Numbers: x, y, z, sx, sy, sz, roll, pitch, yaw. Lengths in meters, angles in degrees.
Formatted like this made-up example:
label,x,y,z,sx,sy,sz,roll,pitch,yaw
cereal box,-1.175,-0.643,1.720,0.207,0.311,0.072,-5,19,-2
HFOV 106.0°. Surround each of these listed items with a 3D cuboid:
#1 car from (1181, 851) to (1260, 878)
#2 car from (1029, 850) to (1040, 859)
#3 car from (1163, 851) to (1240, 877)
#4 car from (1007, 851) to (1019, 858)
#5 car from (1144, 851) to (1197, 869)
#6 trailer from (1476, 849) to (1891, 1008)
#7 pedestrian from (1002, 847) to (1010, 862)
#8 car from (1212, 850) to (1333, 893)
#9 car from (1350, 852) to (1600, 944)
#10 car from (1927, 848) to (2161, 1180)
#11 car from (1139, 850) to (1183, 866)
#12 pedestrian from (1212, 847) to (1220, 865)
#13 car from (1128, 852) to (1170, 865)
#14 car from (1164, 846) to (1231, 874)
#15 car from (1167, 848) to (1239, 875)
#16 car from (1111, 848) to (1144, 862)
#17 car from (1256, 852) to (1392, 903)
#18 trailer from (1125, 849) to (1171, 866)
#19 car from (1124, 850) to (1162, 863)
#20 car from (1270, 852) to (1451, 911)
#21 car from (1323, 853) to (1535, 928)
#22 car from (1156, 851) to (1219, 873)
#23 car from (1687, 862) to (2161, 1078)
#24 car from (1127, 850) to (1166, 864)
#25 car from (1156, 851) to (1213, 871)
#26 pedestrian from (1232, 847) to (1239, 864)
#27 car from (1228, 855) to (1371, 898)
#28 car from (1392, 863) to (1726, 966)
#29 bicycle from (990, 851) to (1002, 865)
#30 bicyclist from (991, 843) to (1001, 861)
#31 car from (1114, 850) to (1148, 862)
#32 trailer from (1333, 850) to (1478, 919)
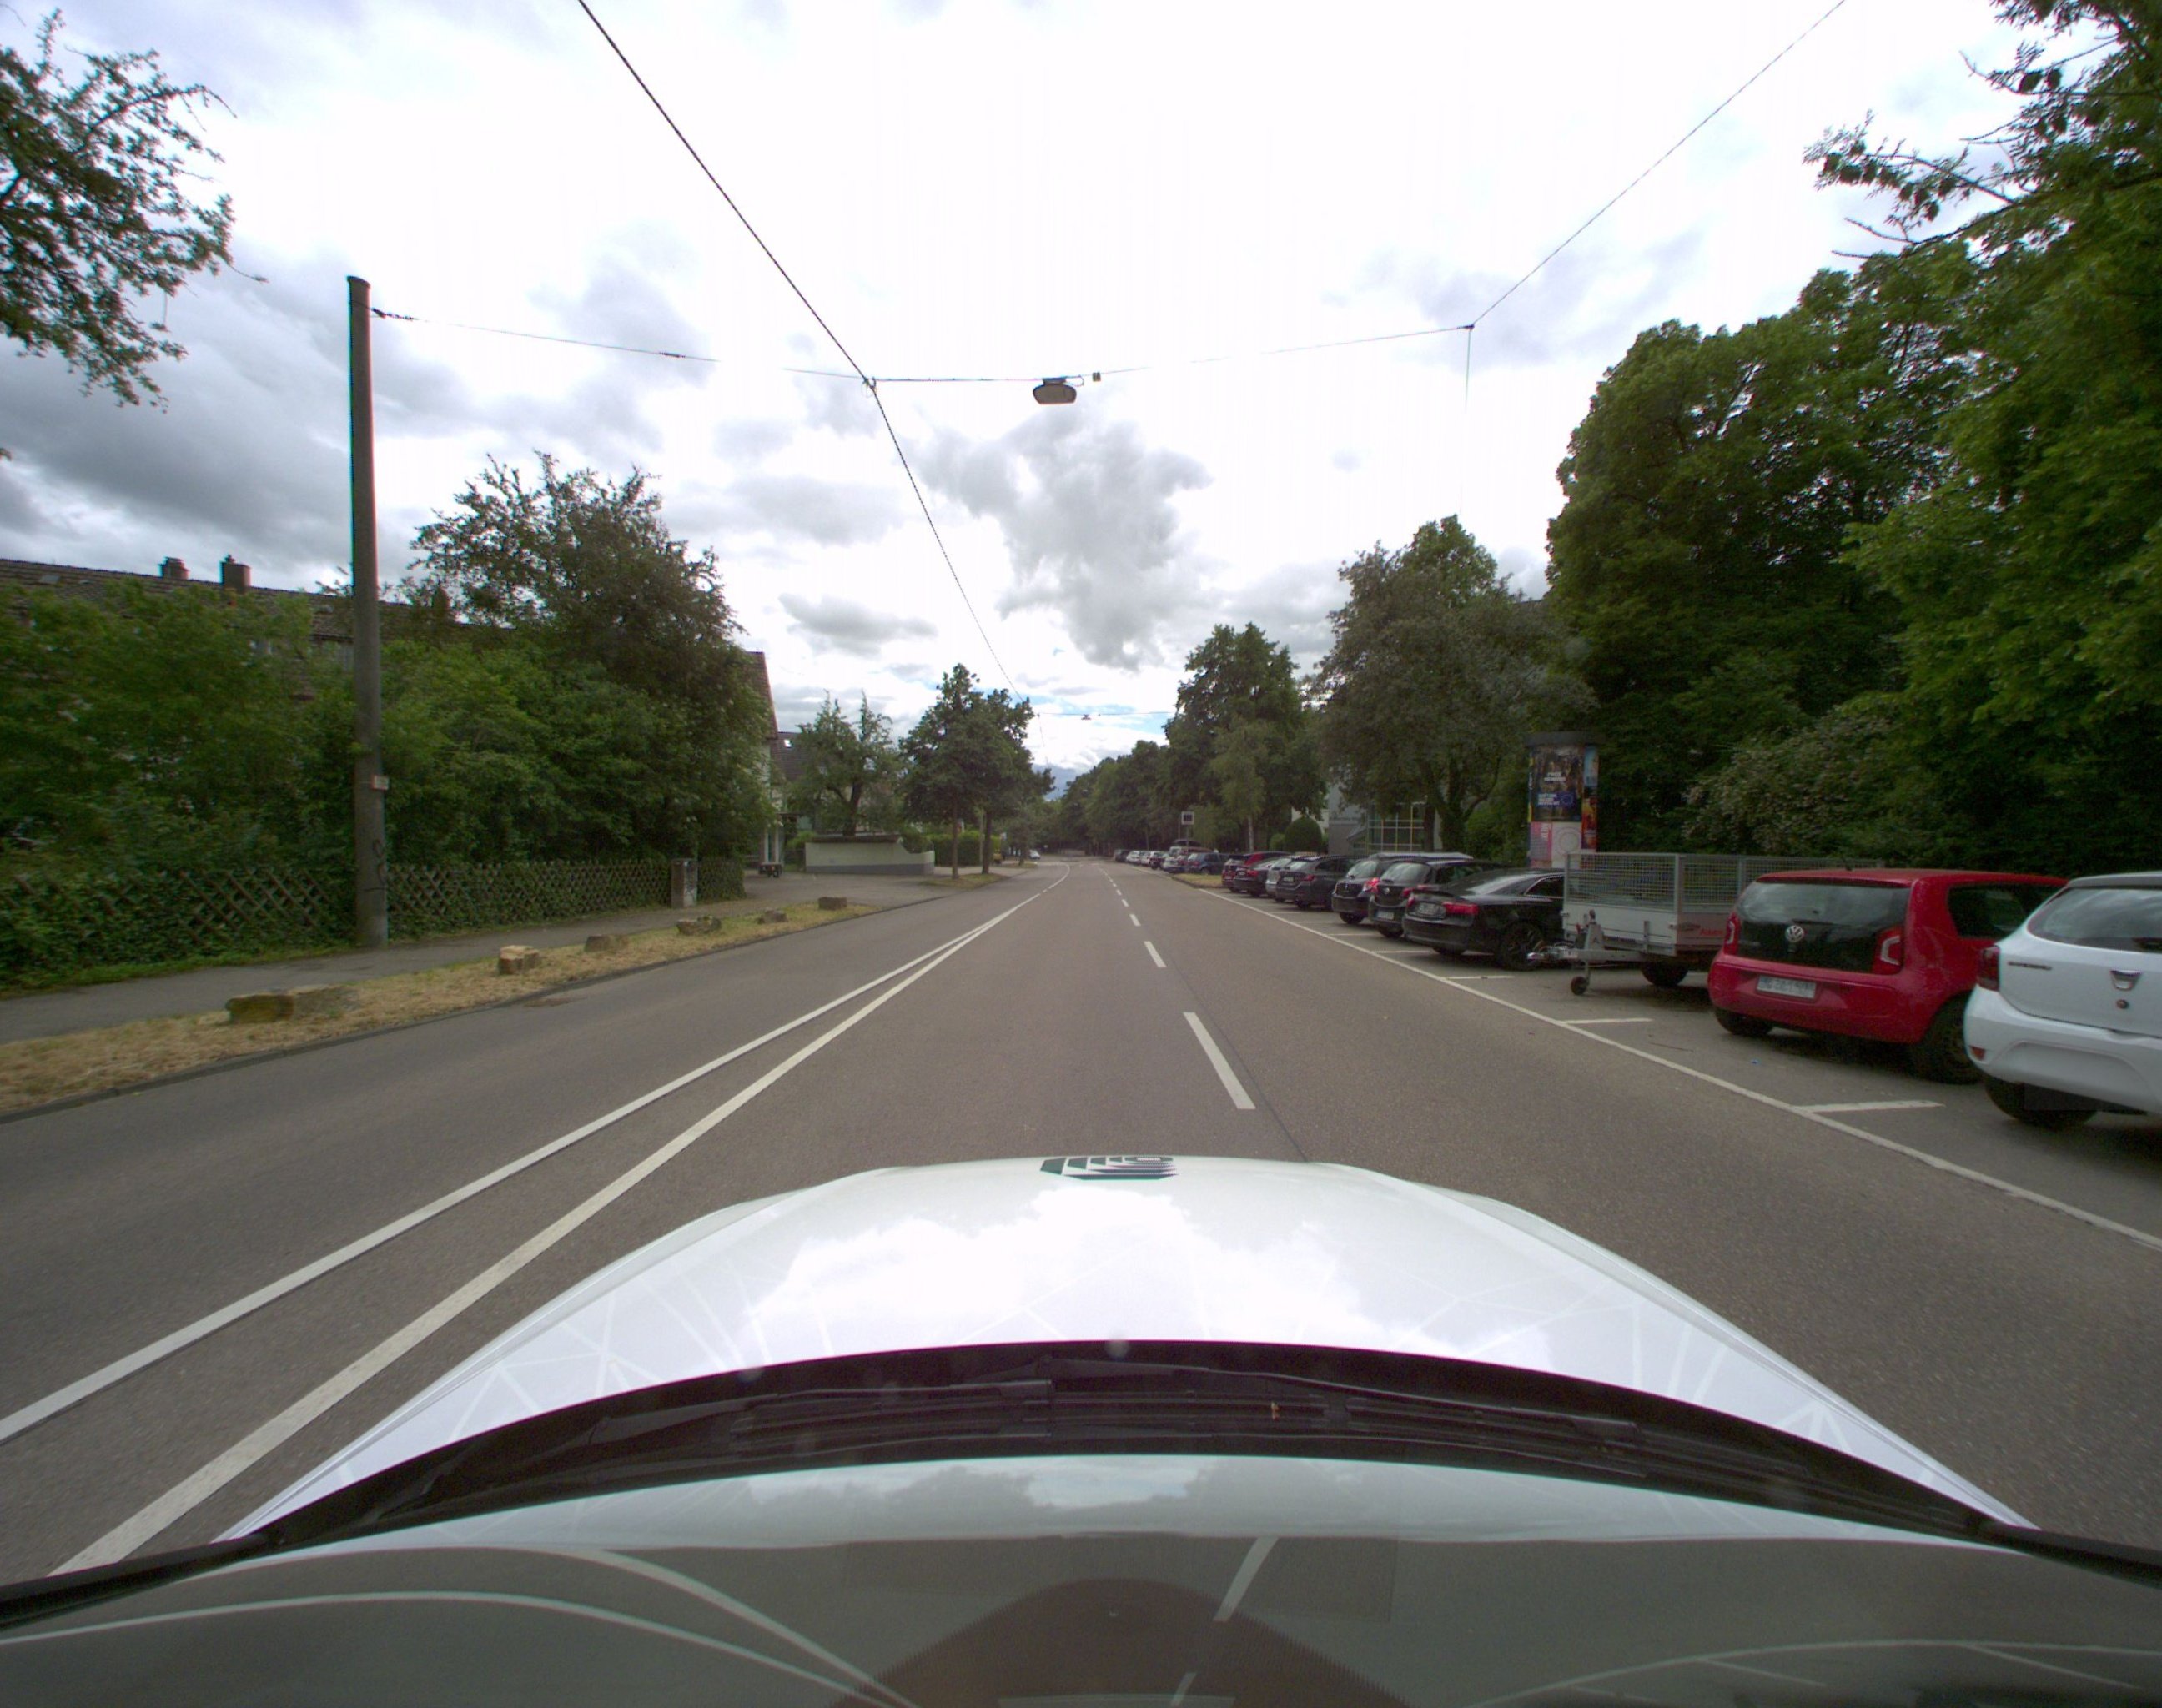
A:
label,x,y,z,sx,sy,sz,roll,pitch,yaw
car,7.675,0.586,44.921,3.970,1.405,1.748,1,0,-14
car,-8.184,0.113,143.480,1.865,1.471,3.992,0,0,-6
car,6.977,0.576,47.073,4.037,1.405,1.747,1,0,-17
car,-14.344,0.069,171.765,1.868,1.471,3.984,0,0,-12
car,7.341,0.473,66.951,3.901,1.449,1.830,1,0,-23
trailer,6.595,0.757,9.070,3.689,1.535,1.640,1,0,-11
pedestrian,-9.149,0.057,99.085,0.972,1.730,0.848,0,0,-3
car,7.065,0.603,30.057,4.086,1.515,1.721,0,0,-21
car,6.975,0.743,14.515,3.917,1.486,1.610,1,0,-14
car,6.876,0.760,4.066,3.812,1.529,1.604,1,0,-3
car,7.691,0.393,78.155,3.898,1.449,1.732,1,0,-21
pedestrian,12.620,0.222,76.075,0.646,1.671,0.745,0,0,6
car,6.945,0.466,83.024,3.901,1.309,1.730,1,0,-24
car,7.648,0.380,53.412,4.107,1.754,1.772,1,0,-26
car,7.542,0.456,50.523,4.004,1.620,1.875,1,0,-15
car,5.968,0.141,104.183,3.896,1.668,1.733,1,0,-19
car,7.297,0.699,24.564,3.616,1.445,1.626,1,0,-15
trailer,6.635,0.363,80.338,4.166,1.573,1.701,1,0,-19
car,6.907,0.290,91.388,3.896,1.429,1.733,1,0,-19
car,7.363,0.717,21.567,4.349,1.445,1.627,1,1,-14
car,7.219,0.731,17.022,3.841,1.455,1.628,1,0,-11
car,7.459,0.531,57.073,3.972,1.449,1.909,1,0,-15
car,7.055,0.809,6.607,3.426,1.445,1.553,1,0,-11
car,7.149,0.335,88.810,3.896,1.429,1.733,1,0,-19
car,7.883,0.522,62.010,3.896,1.449,1.832,1,0,-19
pedestrian,14.628,0.178,77.122,0.646,1.603,0.745,0,0,6
car,7.240,0.736,27.135,4.317,1.341,1.726,1,0,-13
car,6.718,0.814,11.605,4.034,1.327,1.555,1,-1,-8
bicycle,-7.937,0.356,76.095,0.842,1.266,2.650,1,1,-2
bicyclist,-7.933,-0.189,76.207,0.842,1.697,0.713,1,1,-2
car,6.214,0.298,101.393,3.896,1.429,1.733,1,0,-19
trailer,7.717,0.707,19.449,2.988,1.542,1.298,1,1,-12
